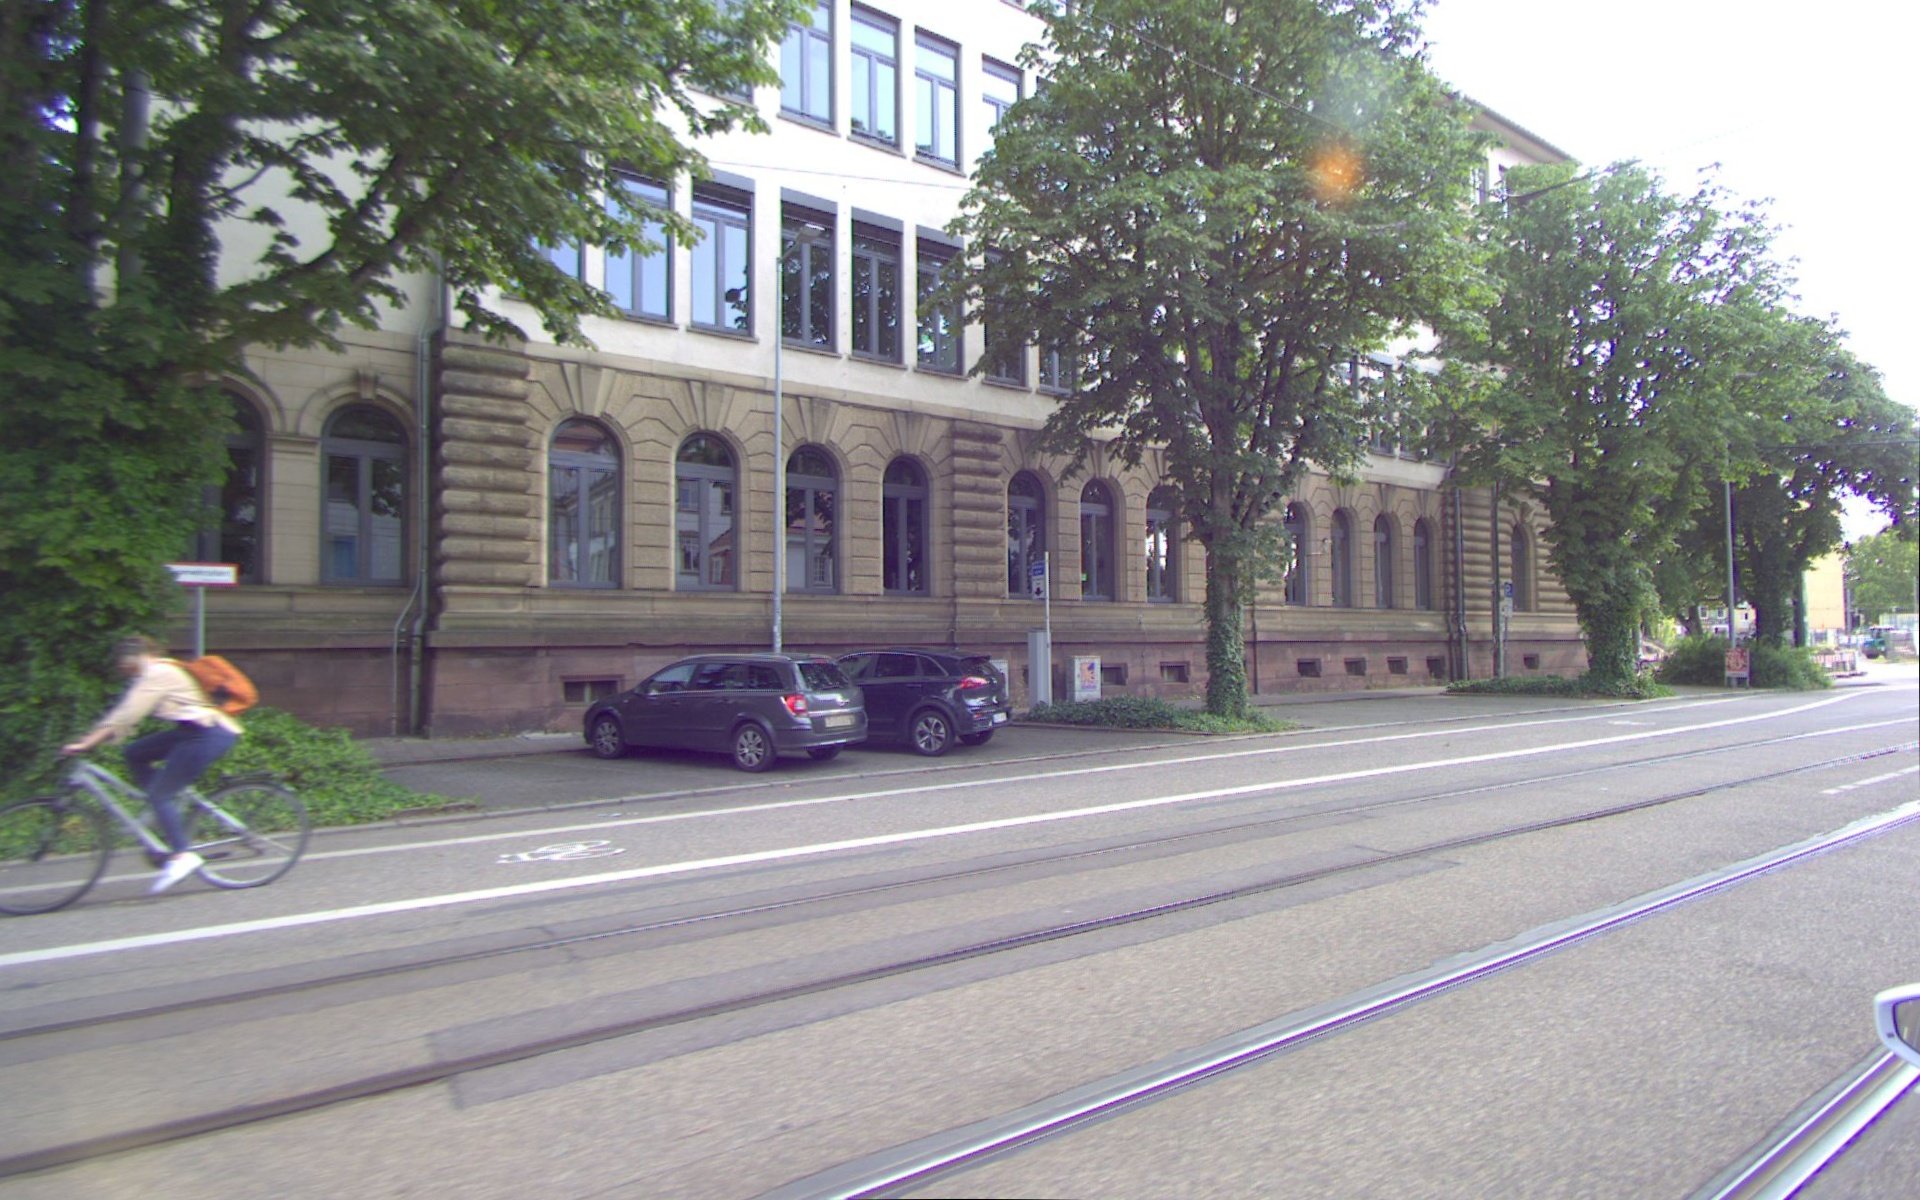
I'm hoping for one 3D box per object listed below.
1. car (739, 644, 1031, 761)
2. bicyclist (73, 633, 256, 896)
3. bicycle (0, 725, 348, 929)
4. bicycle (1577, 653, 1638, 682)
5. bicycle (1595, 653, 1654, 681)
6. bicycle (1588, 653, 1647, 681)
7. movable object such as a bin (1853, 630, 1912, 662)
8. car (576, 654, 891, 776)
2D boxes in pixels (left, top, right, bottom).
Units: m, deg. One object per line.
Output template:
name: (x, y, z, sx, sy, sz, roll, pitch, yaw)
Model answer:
car: (-1.167, 1.496, 15.731, 4.161, 1.571, 1.926, -1, -2, 25)
bicyclist: (-5.082, 0.996, 6.461, 0.860, 1.539, 0.686, 1, -4, -38)
bicycle: (-5.041, 1.387, 6.472, 1.803, 1.030, 0.693, 1, -4, -38)
bicycle: (28.327, 2.939, 43.968, 0.723, 1.183, 2.100, 2, -2, -35)
bicycle: (29.945, 3.001, 45.275, 0.723, 1.183, 2.100, 2, -2, -35)
bicycle: (29.255, 2.974, 44.713, 0.723, 1.183, 2.100, 2, -2, -35)
movable object such as a bin: (77.683, 3.845, 84.583, 3.956, 2.608, 2.628, 2, -3, -32)
car: (-3.203, 1.514, 14.050, 4.165, 1.466, 1.791, -2, -3, 28)
